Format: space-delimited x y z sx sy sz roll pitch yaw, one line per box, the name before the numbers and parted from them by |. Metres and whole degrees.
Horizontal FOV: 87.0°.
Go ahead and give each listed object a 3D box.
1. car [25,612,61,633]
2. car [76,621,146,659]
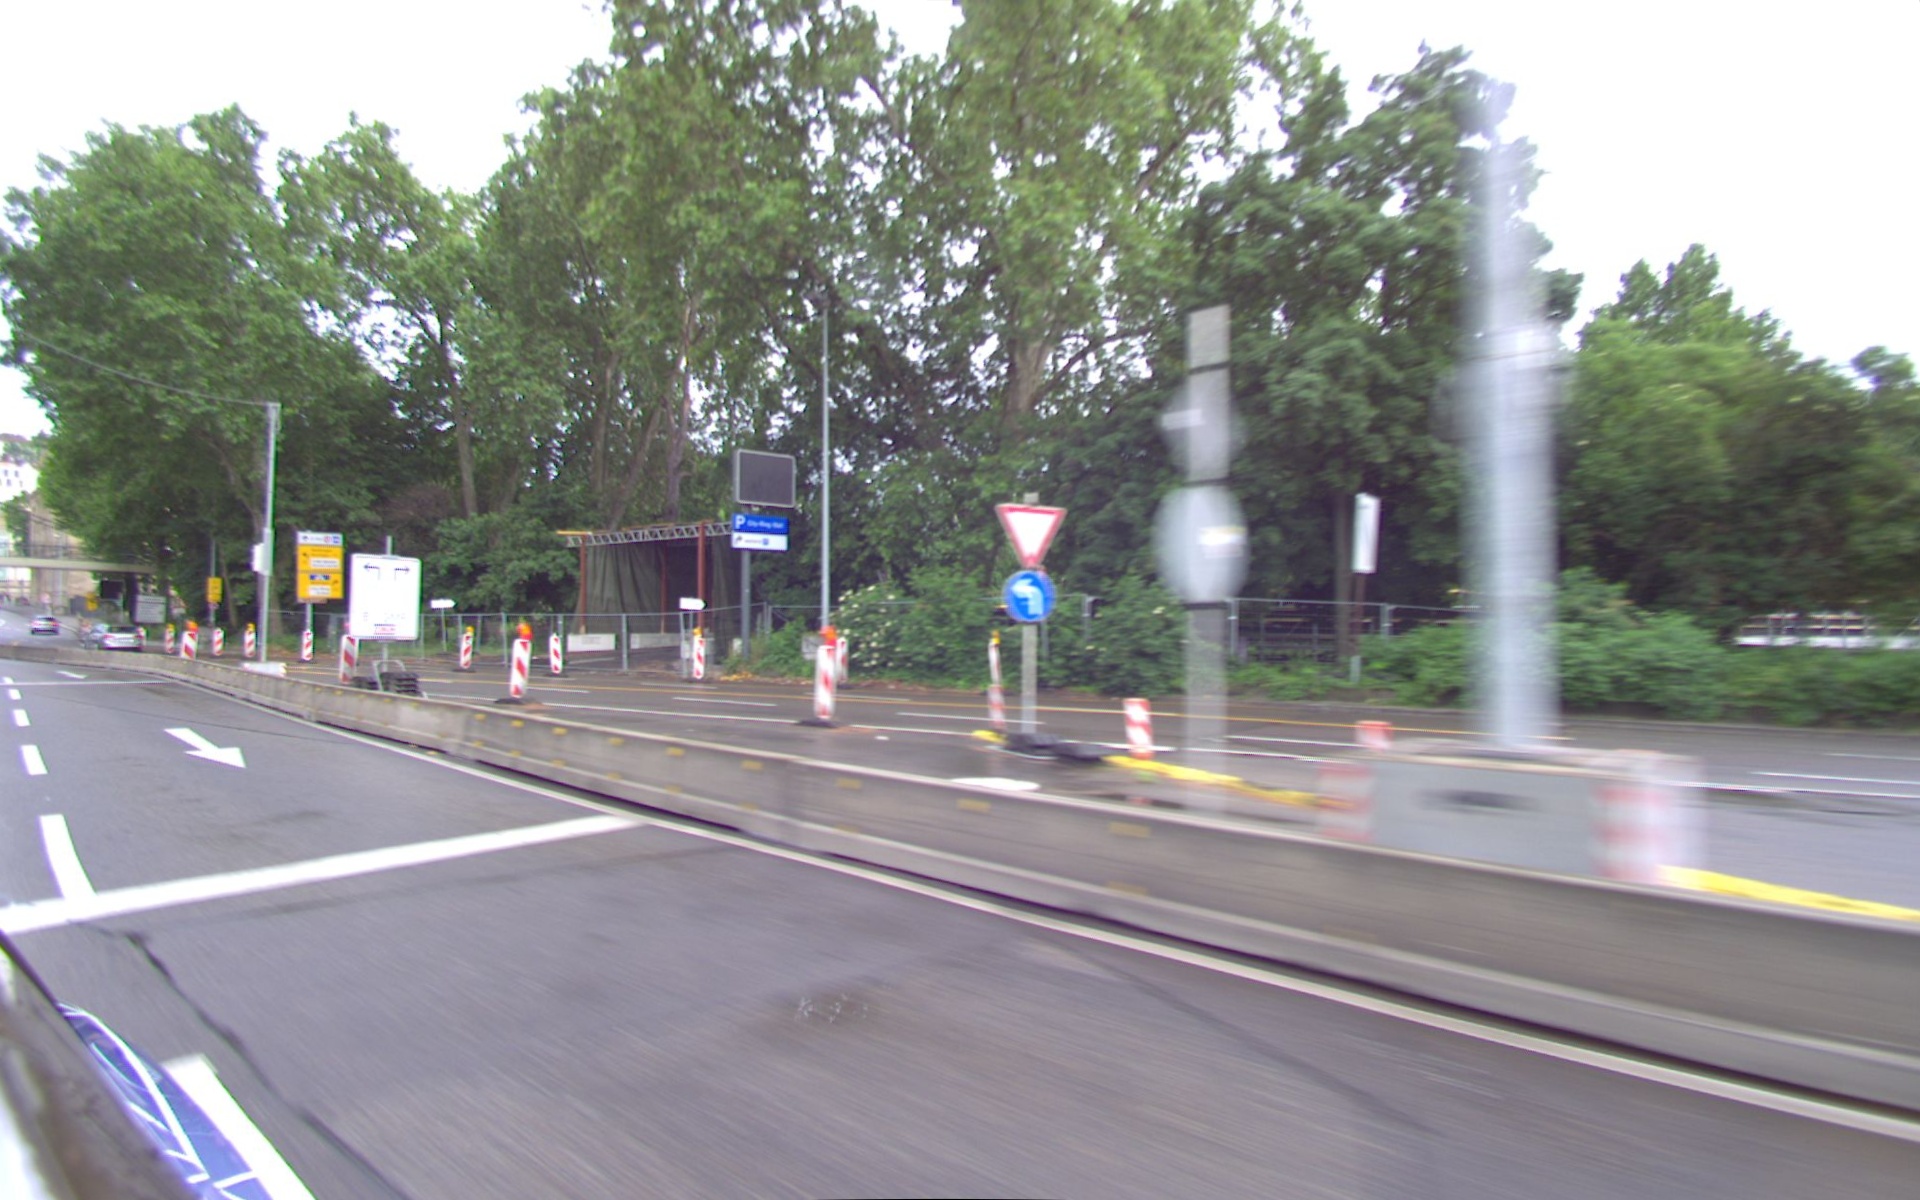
car | -75.544 1.841 83.371 4.092 1.552 1.848 2 -2 44
car | -41.068 1.935 48.916 4.445 1.552 1.972 2 -2 42
